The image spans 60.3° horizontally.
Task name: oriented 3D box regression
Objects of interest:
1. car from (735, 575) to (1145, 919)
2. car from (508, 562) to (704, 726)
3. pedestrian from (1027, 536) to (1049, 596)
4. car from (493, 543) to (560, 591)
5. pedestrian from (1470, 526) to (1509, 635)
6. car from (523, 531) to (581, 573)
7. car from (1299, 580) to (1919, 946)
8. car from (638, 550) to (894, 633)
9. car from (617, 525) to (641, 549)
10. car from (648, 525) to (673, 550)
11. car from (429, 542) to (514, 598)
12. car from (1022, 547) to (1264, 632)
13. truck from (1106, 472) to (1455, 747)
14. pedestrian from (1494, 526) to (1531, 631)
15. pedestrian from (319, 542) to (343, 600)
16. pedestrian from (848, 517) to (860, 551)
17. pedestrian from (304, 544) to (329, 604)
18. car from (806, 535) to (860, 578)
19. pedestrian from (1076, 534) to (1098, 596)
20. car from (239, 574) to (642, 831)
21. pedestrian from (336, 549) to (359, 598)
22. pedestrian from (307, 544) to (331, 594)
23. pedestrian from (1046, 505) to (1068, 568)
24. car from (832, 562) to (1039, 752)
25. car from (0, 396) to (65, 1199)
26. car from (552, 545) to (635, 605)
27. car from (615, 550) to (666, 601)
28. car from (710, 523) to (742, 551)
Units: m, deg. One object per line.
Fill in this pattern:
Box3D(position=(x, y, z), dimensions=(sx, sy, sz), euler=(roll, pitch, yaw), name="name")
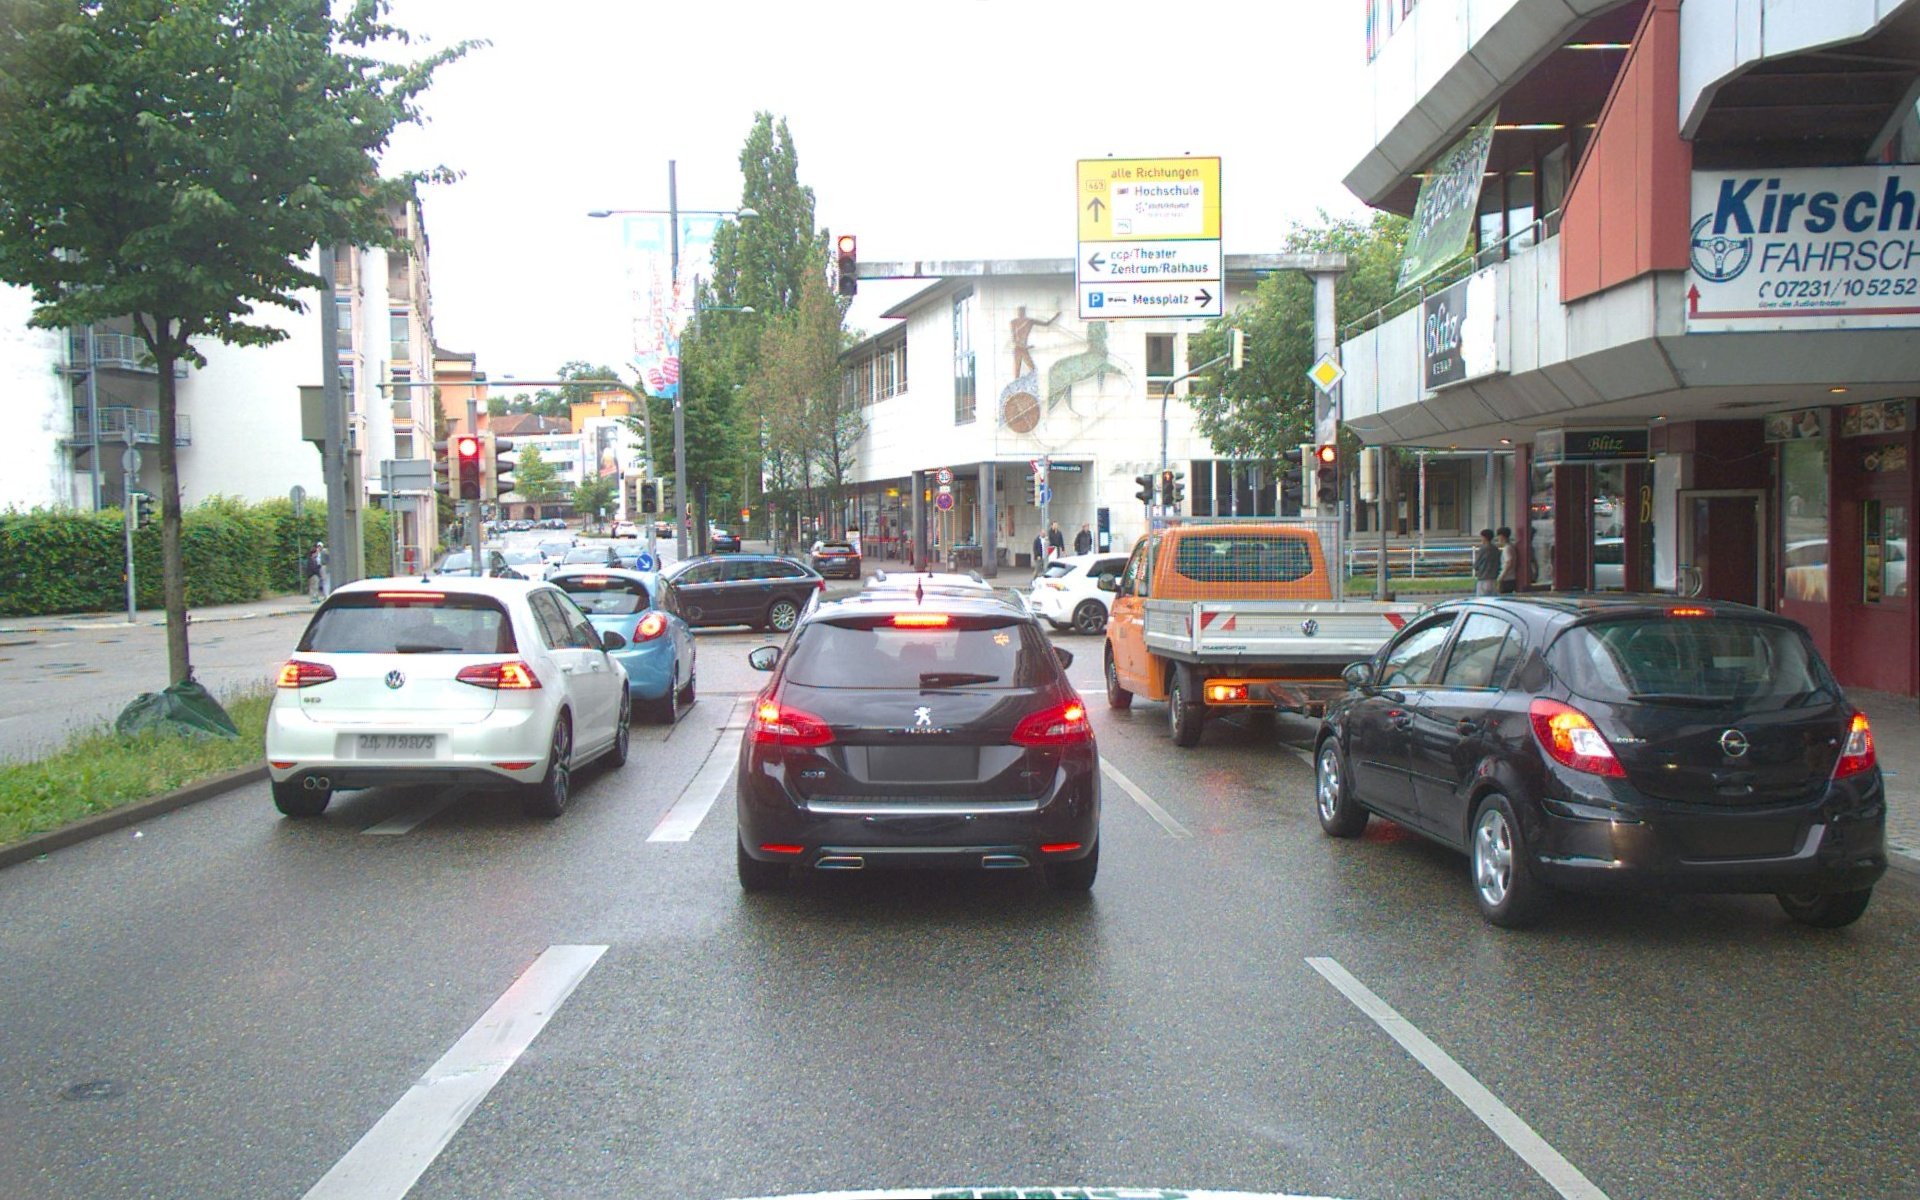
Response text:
Box3D(position=(-0.154, 0.606, 9.000), dimensions=(1.742, 1.454, 3.841), euler=(1, 1, -2), name="car")
Box3D(position=(-3.612, 0.378, 17.402), dimensions=(1.601, 1.512, 3.606), euler=(1, 2, -6), name="car")
Box3D(position=(2.368, -1.031, 50.279), dimensions=(0.623, 1.788, 0.734), euler=(1, -1, 6), name="pedestrian")
Box3D(position=(-14.093, -1.096, 53.924), dimensions=(1.602, 1.512, 3.605), euler=(1, 2, -7), name="car")
Box3D(position=(8.444, -0.301, 26.374), dimensions=(0.417, 1.712, 0.450), euler=(-1, -1, -2), name="pedestrian")
Box3D(position=(-14.980, -1.763, 60.832), dimensions=(1.602, 1.512, 3.605), euler=(1, 2, -7), name="car")
Box3D(position=(3.073, 0.647, 8.658), dimensions=(1.584, 1.454, 3.839), euler=(1, 1, -4), name="car")
Box3D(position=(-3.735, -0.181, 31.954), dimensions=(4.660, 1.512, 1.626), euler=(0, 2, -24), name="car")
Box3D(position=(-29.161, -5.552, 145.603), dimensions=(1.679, 1.915, 3.980), euler=(1, -1, -18), name="car")
Box3D(position=(-26.627, -5.532, 146.836), dimensions=(1.679, 1.970, 3.980), euler=(1, -1, -18), name="car")
Box3D(position=(-13.798, -0.868, 46.908), dimensions=(1.543, 1.512, 3.607), euler=(1, 2, -4), name="car")
Box3D(position=(3.407, -0.202, 30.999), dimensions=(4.221, 1.512, 1.632), euler=(0, 1, -15), name="car")
Box3D(position=(2.824, 0.013, 15.908), dimensions=(2.133, 2.210, 5.018), euler=(1, 2, -3), name="truck")
Box3D(position=(8.946, -0.341, 26.778), dimensions=(0.388, 1.668, 0.504), euler=(-1, -1, 0), name="pedestrian")
Box3D(position=(-19.521, -0.895, 51.369), dimensions=(0.528, 1.778, 0.564), euler=(1, -1, -6), name="pedestrian")
Box3D(position=(-5.564, -3.451, 86.794), dimensions=(0.461, 1.778, 0.537), euler=(1, -1, -21), name="pedestrian")
Box3D(position=(-19.363, -0.782, 49.804), dimensions=(0.529, 1.778, 0.746), euler=(1, -1, -9), name="pedestrian")
Box3D(position=(-4.924, -1.713, 63.717), dimensions=(1.753, 1.479, 4.500), euler=(-3, 3, -7), name="car")
Box3D(position=(3.970, -1.087, 51.667), dimensions=(0.623, 1.930, 0.734), euler=(1, -1, 6), name="pedestrian")
Box3D(position=(-3.333, 0.562, 11.384), dimensions=(1.742, 1.454, 3.840), euler=(1, 1, -3), name="car")
Box3D(position=(-20.421, -0.877, 55.131), dimensions=(0.569, 1.627, 0.526), euler=(1, -1, -7), name="pedestrian")
Box3D(position=(-21.019, -1.009, 54.239), dimensions=(0.569, 1.627, 0.526), euler=(1, -1, -7), name="pedestrian")
Box3D(position=(3.048, -1.994, 51.894), dimensions=(0.623, 1.930, 0.734), euler=(1, -1, 6), name="pedestrian")
Box3D(position=(-0.229, 0.421, 15.344), dimensions=(1.662, 1.512, 3.793), euler=(1, 2, -1), name="car")
Box3D(position=(-3.042, 0.448, 1.433), dimensions=(1.873, 1.903, 5.071), euler=(1, -1, -2), name="car")
Box3D(position=(-10.541, -0.686, 47.790), dimensions=(1.710, 1.607, 3.996), euler=(1, -1, -4), name="car")
Box3D(position=(-11.279, -0.821, 58.412), dimensions=(1.713, 1.669, 3.989), euler=(1, -1, -11), name="car")
Box3D(position=(-14.791, -3.931, 104.303), dimensions=(1.694, 1.516, 4.719), euler=(1, -1, -12), name="car")
